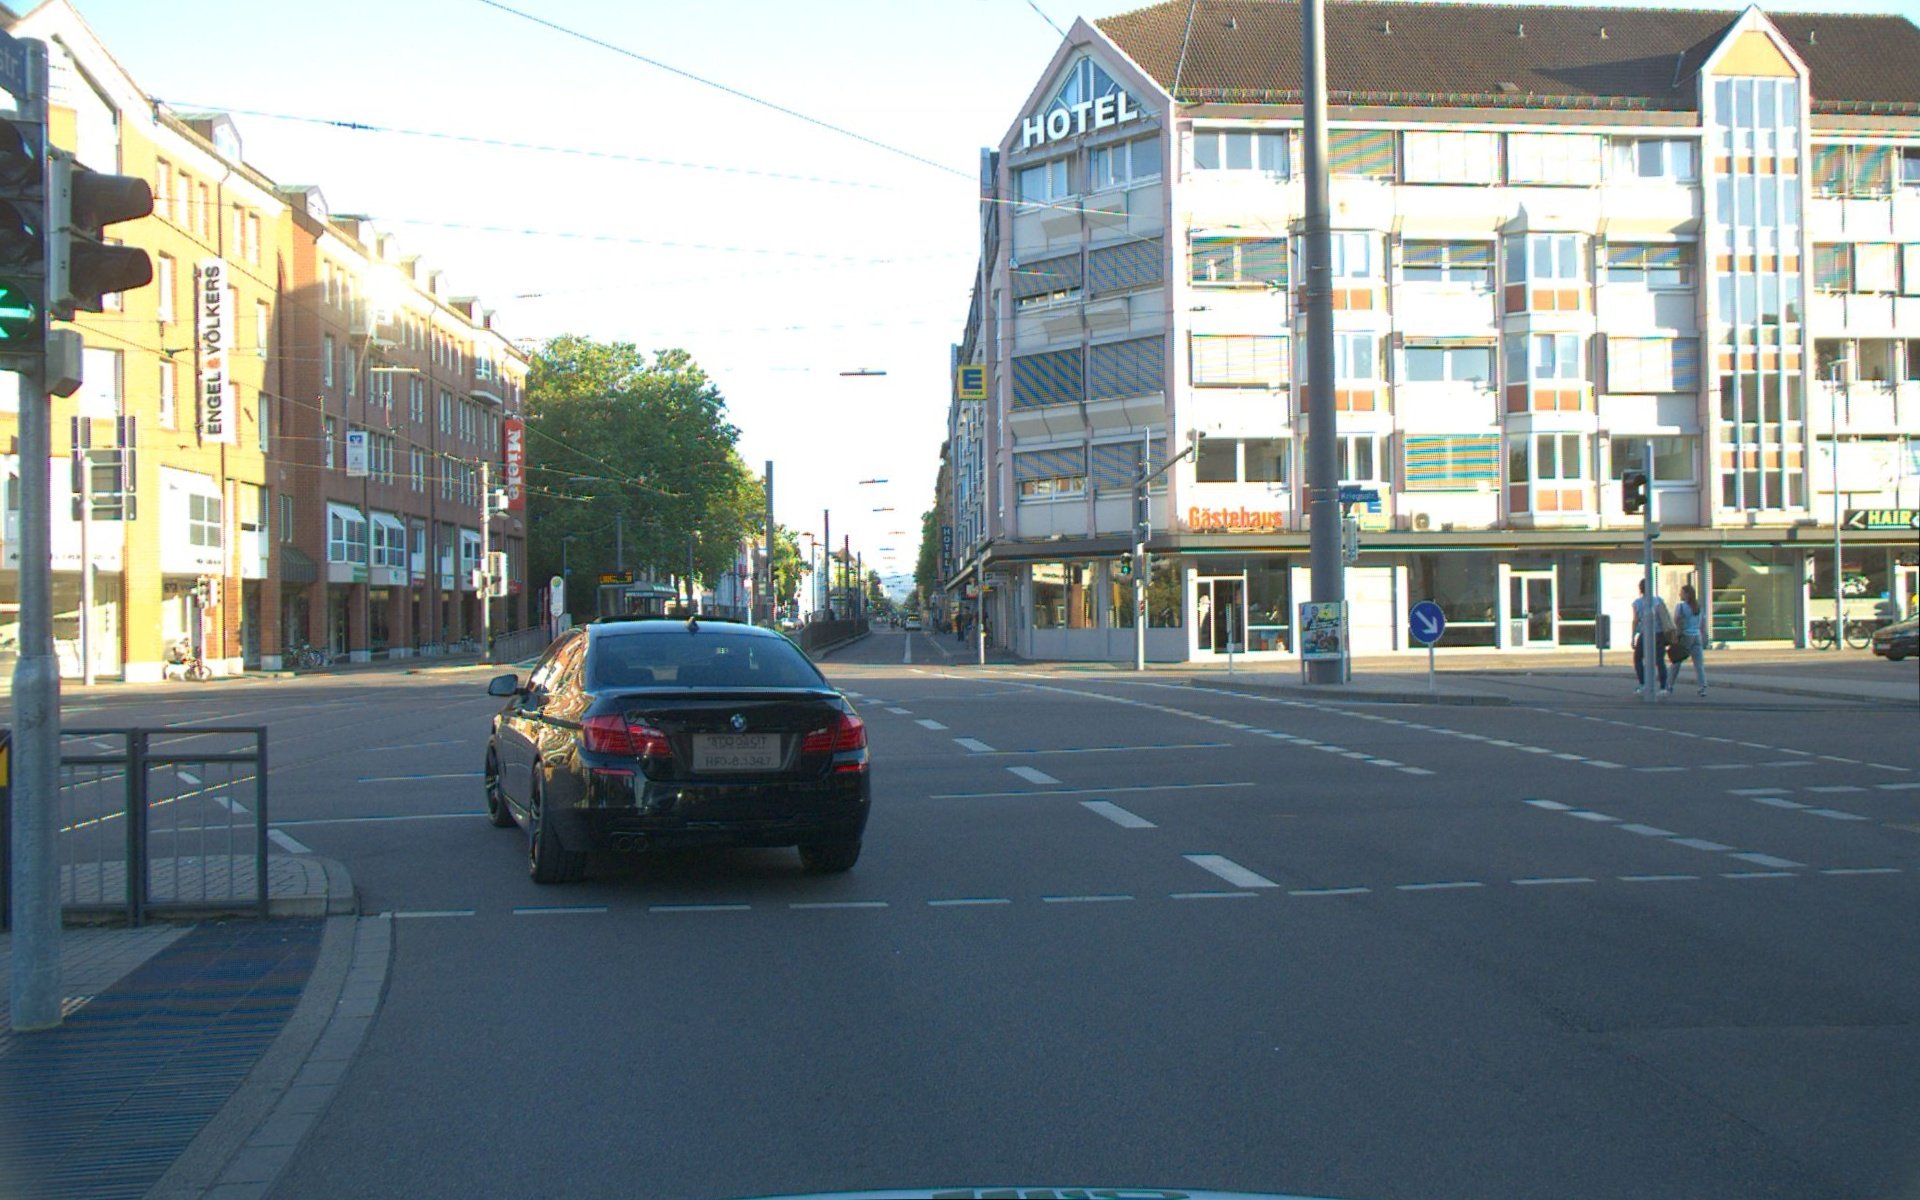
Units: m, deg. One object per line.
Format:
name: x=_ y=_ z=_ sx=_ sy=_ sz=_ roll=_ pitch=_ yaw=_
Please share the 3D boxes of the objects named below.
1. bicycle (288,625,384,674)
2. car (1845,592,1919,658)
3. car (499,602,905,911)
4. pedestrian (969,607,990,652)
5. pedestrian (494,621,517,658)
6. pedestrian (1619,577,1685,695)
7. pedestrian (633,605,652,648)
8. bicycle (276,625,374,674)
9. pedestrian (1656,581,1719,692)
bicycle: x=-23.852 y=1.885 z=63.291 sx=3.231 sy=1.756 sz=1.068 roll=-1 pitch=-1 yaw=-4
car: x=24.604 y=0.655 z=40.686 sx=4.501 sy=1.583 sz=2.223 roll=1 pitch=-1 yaw=2
car: x=-1.842 y=0.800 z=10.469 sx=1.813 sy=1.521 sz=4.268 roll=1 pitch=-1 yaw=-19
pedestrian: x=0.705 y=1.076 z=59.941 sx=0.691 sy=1.575 sz=0.906 roll=0 pitch=2 yaw=-4
pedestrian: x=-25.286 y=2.196 z=92.016 sx=1.064 sy=2.049 sz=1.083 roll=-1 pitch=-1 yaw=-7
pedestrian: x=10.068 y=0.517 z=24.058 sx=0.712 sy=1.678 sz=0.769 roll=-2 pitch=-1 yaw=33
pedestrian: x=-15.427 y=1.288 z=80.392 sx=0.792 sy=2.049 sz=0.677 roll=-1 pitch=-1 yaw=-6
bicycle: x=-23.820 y=1.845 z=62.123 sx=3.231 sy=1.756 sz=1.069 roll=-1 pitch=-1 yaw=-2
pedestrian: x=10.814 y=0.540 z=24.580 sx=0.691 sy=1.610 sz=0.823 roll=-2 pitch=-1 yaw=33
